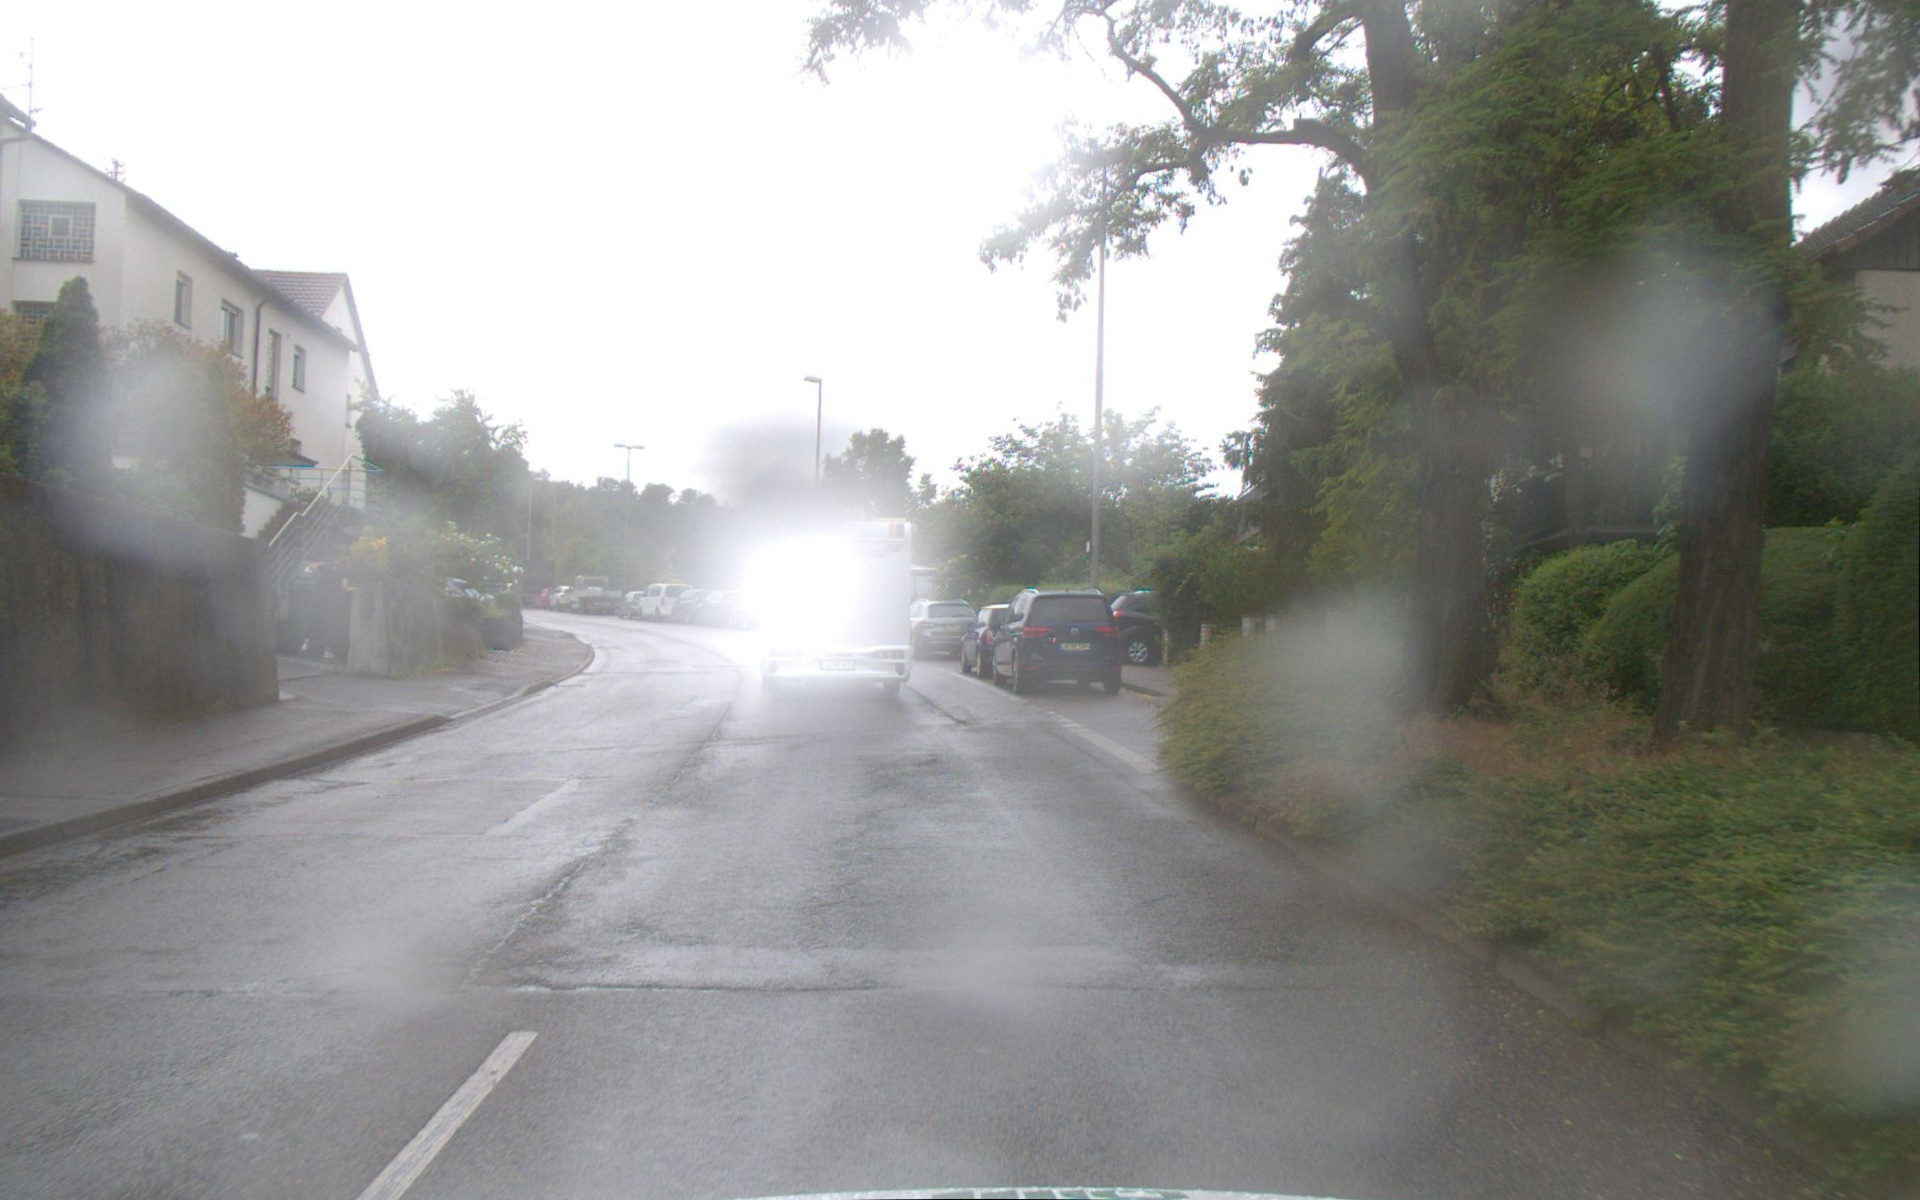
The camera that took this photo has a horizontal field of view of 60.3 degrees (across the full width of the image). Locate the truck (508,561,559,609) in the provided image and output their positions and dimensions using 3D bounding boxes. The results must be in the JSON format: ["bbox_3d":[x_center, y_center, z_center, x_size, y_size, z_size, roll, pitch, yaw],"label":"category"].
[{"bbox_3d":[-31.618,-1.092,122.471,2.404,3.393,7.905,1,0,-24],"label":"truck"}]

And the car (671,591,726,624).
[{"bbox_3d":[-12.683,0.357,80.100,1.622,1.567,4.323,1,0,-23],"label":"car"}]

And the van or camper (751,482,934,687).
[{"bbox_3d":[-2.071,-0.119,27.290,2.566,2.903,6.021,3,-2,-7],"label":"van or camper"}]

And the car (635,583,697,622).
[{"bbox_3d":[-15.175,0.103,85.154,1.826,1.915,4.869,1,0,-26],"label":"car"}]

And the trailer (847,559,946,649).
[{"bbox_3d":[-1.960,0.118,49.220,1.915,2.499,5.416,1,0,-13],"label":"trailer"}]

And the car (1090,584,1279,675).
[{"bbox_3d":[5.141,0.659,38.221,3.927,1.717,1.775,5,-1,-6],"label":"car"}]

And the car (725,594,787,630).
[{"bbox_3d":[-8.681,0.492,70.106,1.711,1.439,3.826,1,0,-22],"label":"car"}]

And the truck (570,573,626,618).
[{"bbox_3d":[-22.410,-0.260,102.116,2.209,2.677,6.492,1,0,-23],"label":"truck"}]

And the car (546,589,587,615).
[{"bbox_3d":[-25.881,0.119,108.668,1.737,1.632,4.630,1,0,-24],"label":"car"}]

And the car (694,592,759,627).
[{"bbox_3d":[-10.604,0.407,74.871,1.791,1.533,4.691,1,0,-23],"label":"car"}]

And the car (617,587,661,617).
[{"bbox_3d":[-17.544,0.104,90.313,1.625,1.590,3.936,1,0,-23],"label":"car"}]

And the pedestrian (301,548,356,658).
[{"bbox_3d":[-9.819,0.037,25.735,0.644,1.677,0.730,2,1,-13],"label":"pedestrian"}]

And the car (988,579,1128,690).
[{"bbox_3d":[1.584,0.552,28.267,1.793,1.730,4.456,1,0,-4],"label":"car"}]

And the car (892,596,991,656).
[{"bbox_3d":[-0.539,0.642,42.794,1.716,1.449,4.690,1,0,-11],"label":"car"}]

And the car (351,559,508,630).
[{"bbox_3d":[-16.534,-0.148,51.670,4.173,1.455,1.765,11,-2,-4],"label":"car"}]

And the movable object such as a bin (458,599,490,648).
[{"bbox_3d":[-11.477,0.546,39.076,0.528,1.094,0.741,7,-1,-11],"label":"movable object such as a bin"}]

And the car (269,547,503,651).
[{"bbox_3d":[-12.559,-0.003,36.488,4.430,1.641,1.928,8,-2,-10],"label":"car"}]

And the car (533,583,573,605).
[{"bbox_3d":[-28.521,-0.411,115.777,1.808,1.463,4.947,1,0,-25],"label":"car"}]

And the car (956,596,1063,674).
[{"bbox_3d":[0.949,0.683,33.673,1.603,1.482,3.694,1,0,-7],"label":"car"}]
